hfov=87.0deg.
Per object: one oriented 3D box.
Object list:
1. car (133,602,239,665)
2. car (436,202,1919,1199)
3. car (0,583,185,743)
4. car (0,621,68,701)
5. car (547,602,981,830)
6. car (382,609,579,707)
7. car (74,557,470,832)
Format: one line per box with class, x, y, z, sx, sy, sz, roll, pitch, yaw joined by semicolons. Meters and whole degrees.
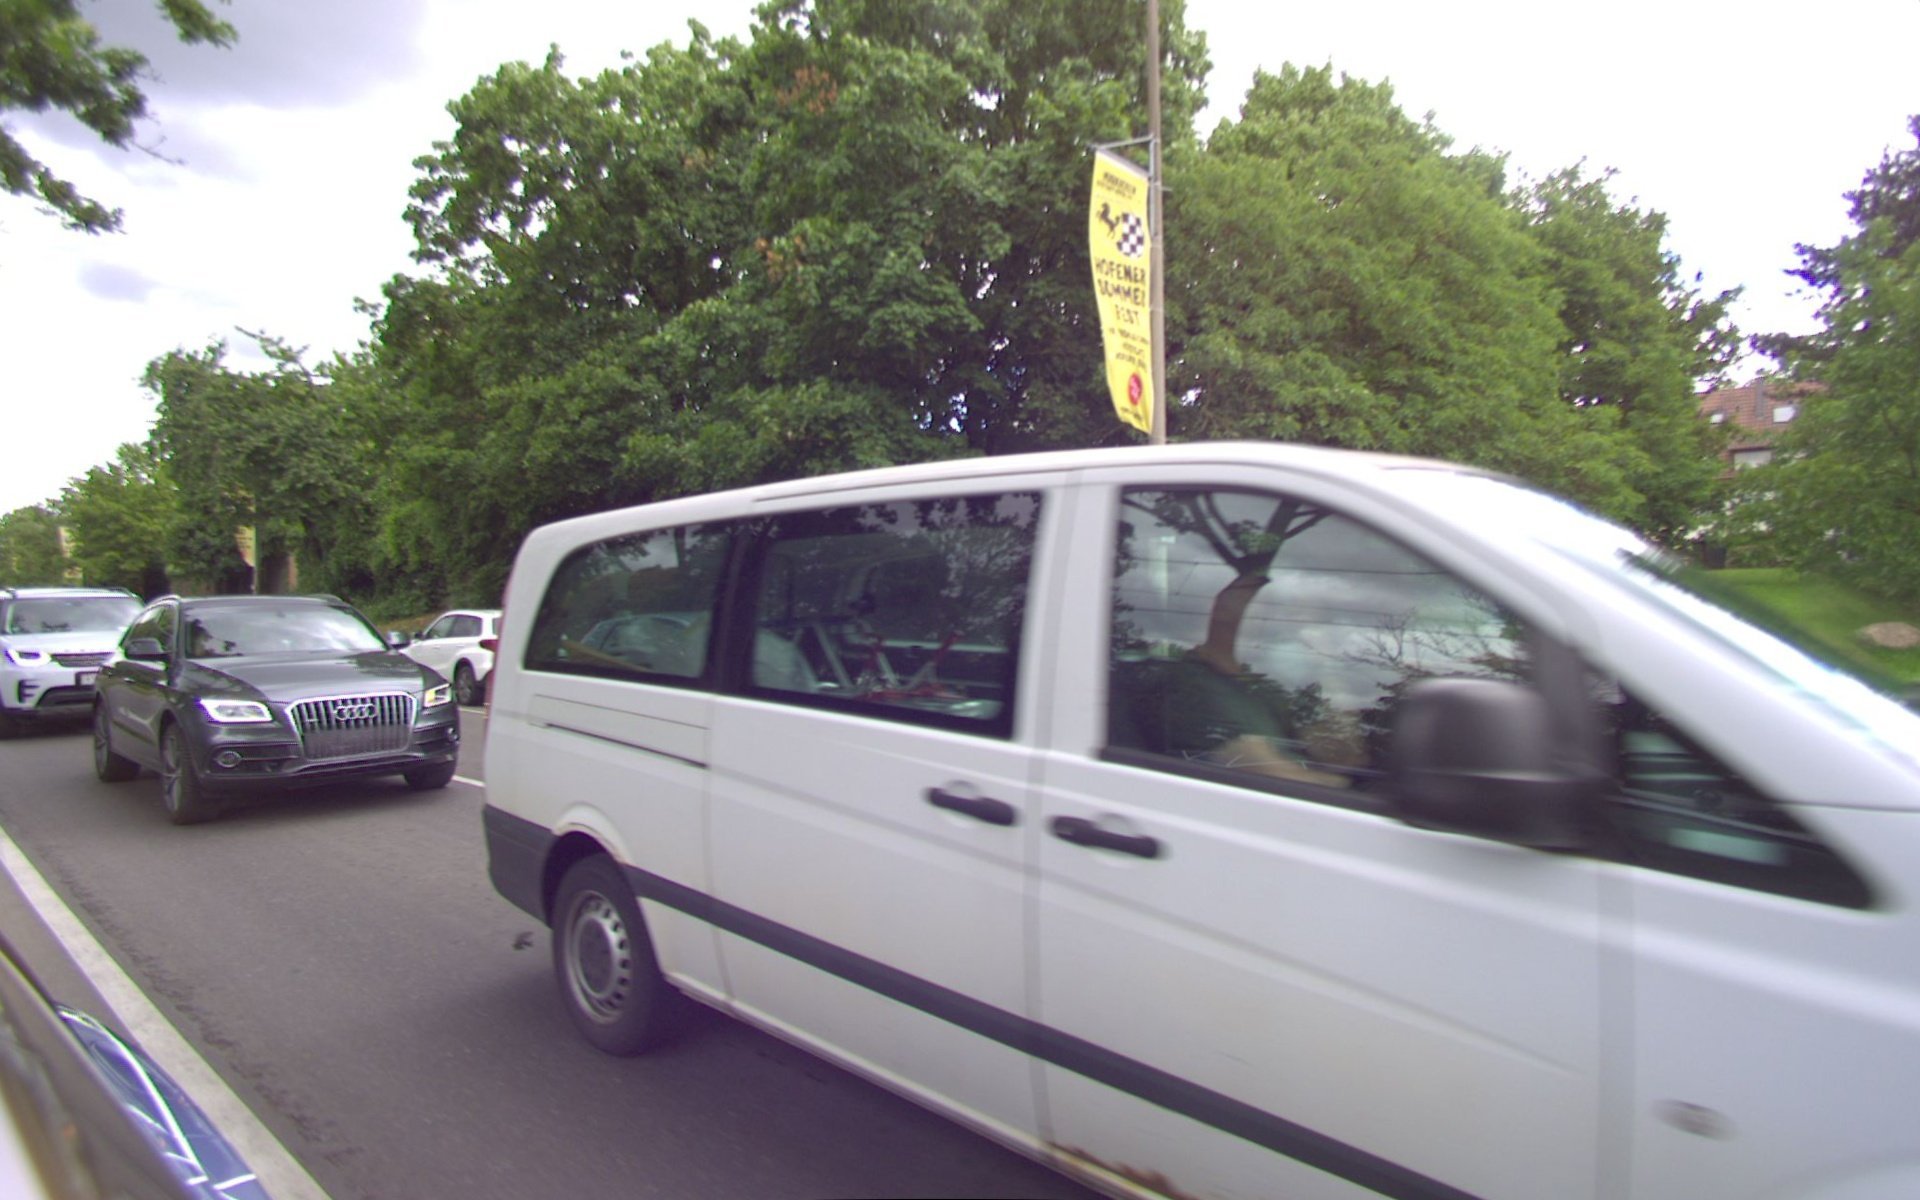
car;-24.416;1.040;31.879;4.407;1.845;1.773;-1;-2;41
car;0.579;0.494;2.855;5.279;1.857;1.887;-1;-1;41
car;-12.107;0.720;13.665;4.502;1.808;1.784;0;1;42
car;-17.278;1.053;18.125;3.822;1.276;1.538;0;0;42
car;-1.805;0.795;8.504;3.929;1.479;1.574;-1;-2;43
car;-8.545;0.952;17.917;3.907;1.550;1.721;-1;-1;40
car;-5.920;0.643;8.494;4.332;1.731;1.733;-2;-1;41
